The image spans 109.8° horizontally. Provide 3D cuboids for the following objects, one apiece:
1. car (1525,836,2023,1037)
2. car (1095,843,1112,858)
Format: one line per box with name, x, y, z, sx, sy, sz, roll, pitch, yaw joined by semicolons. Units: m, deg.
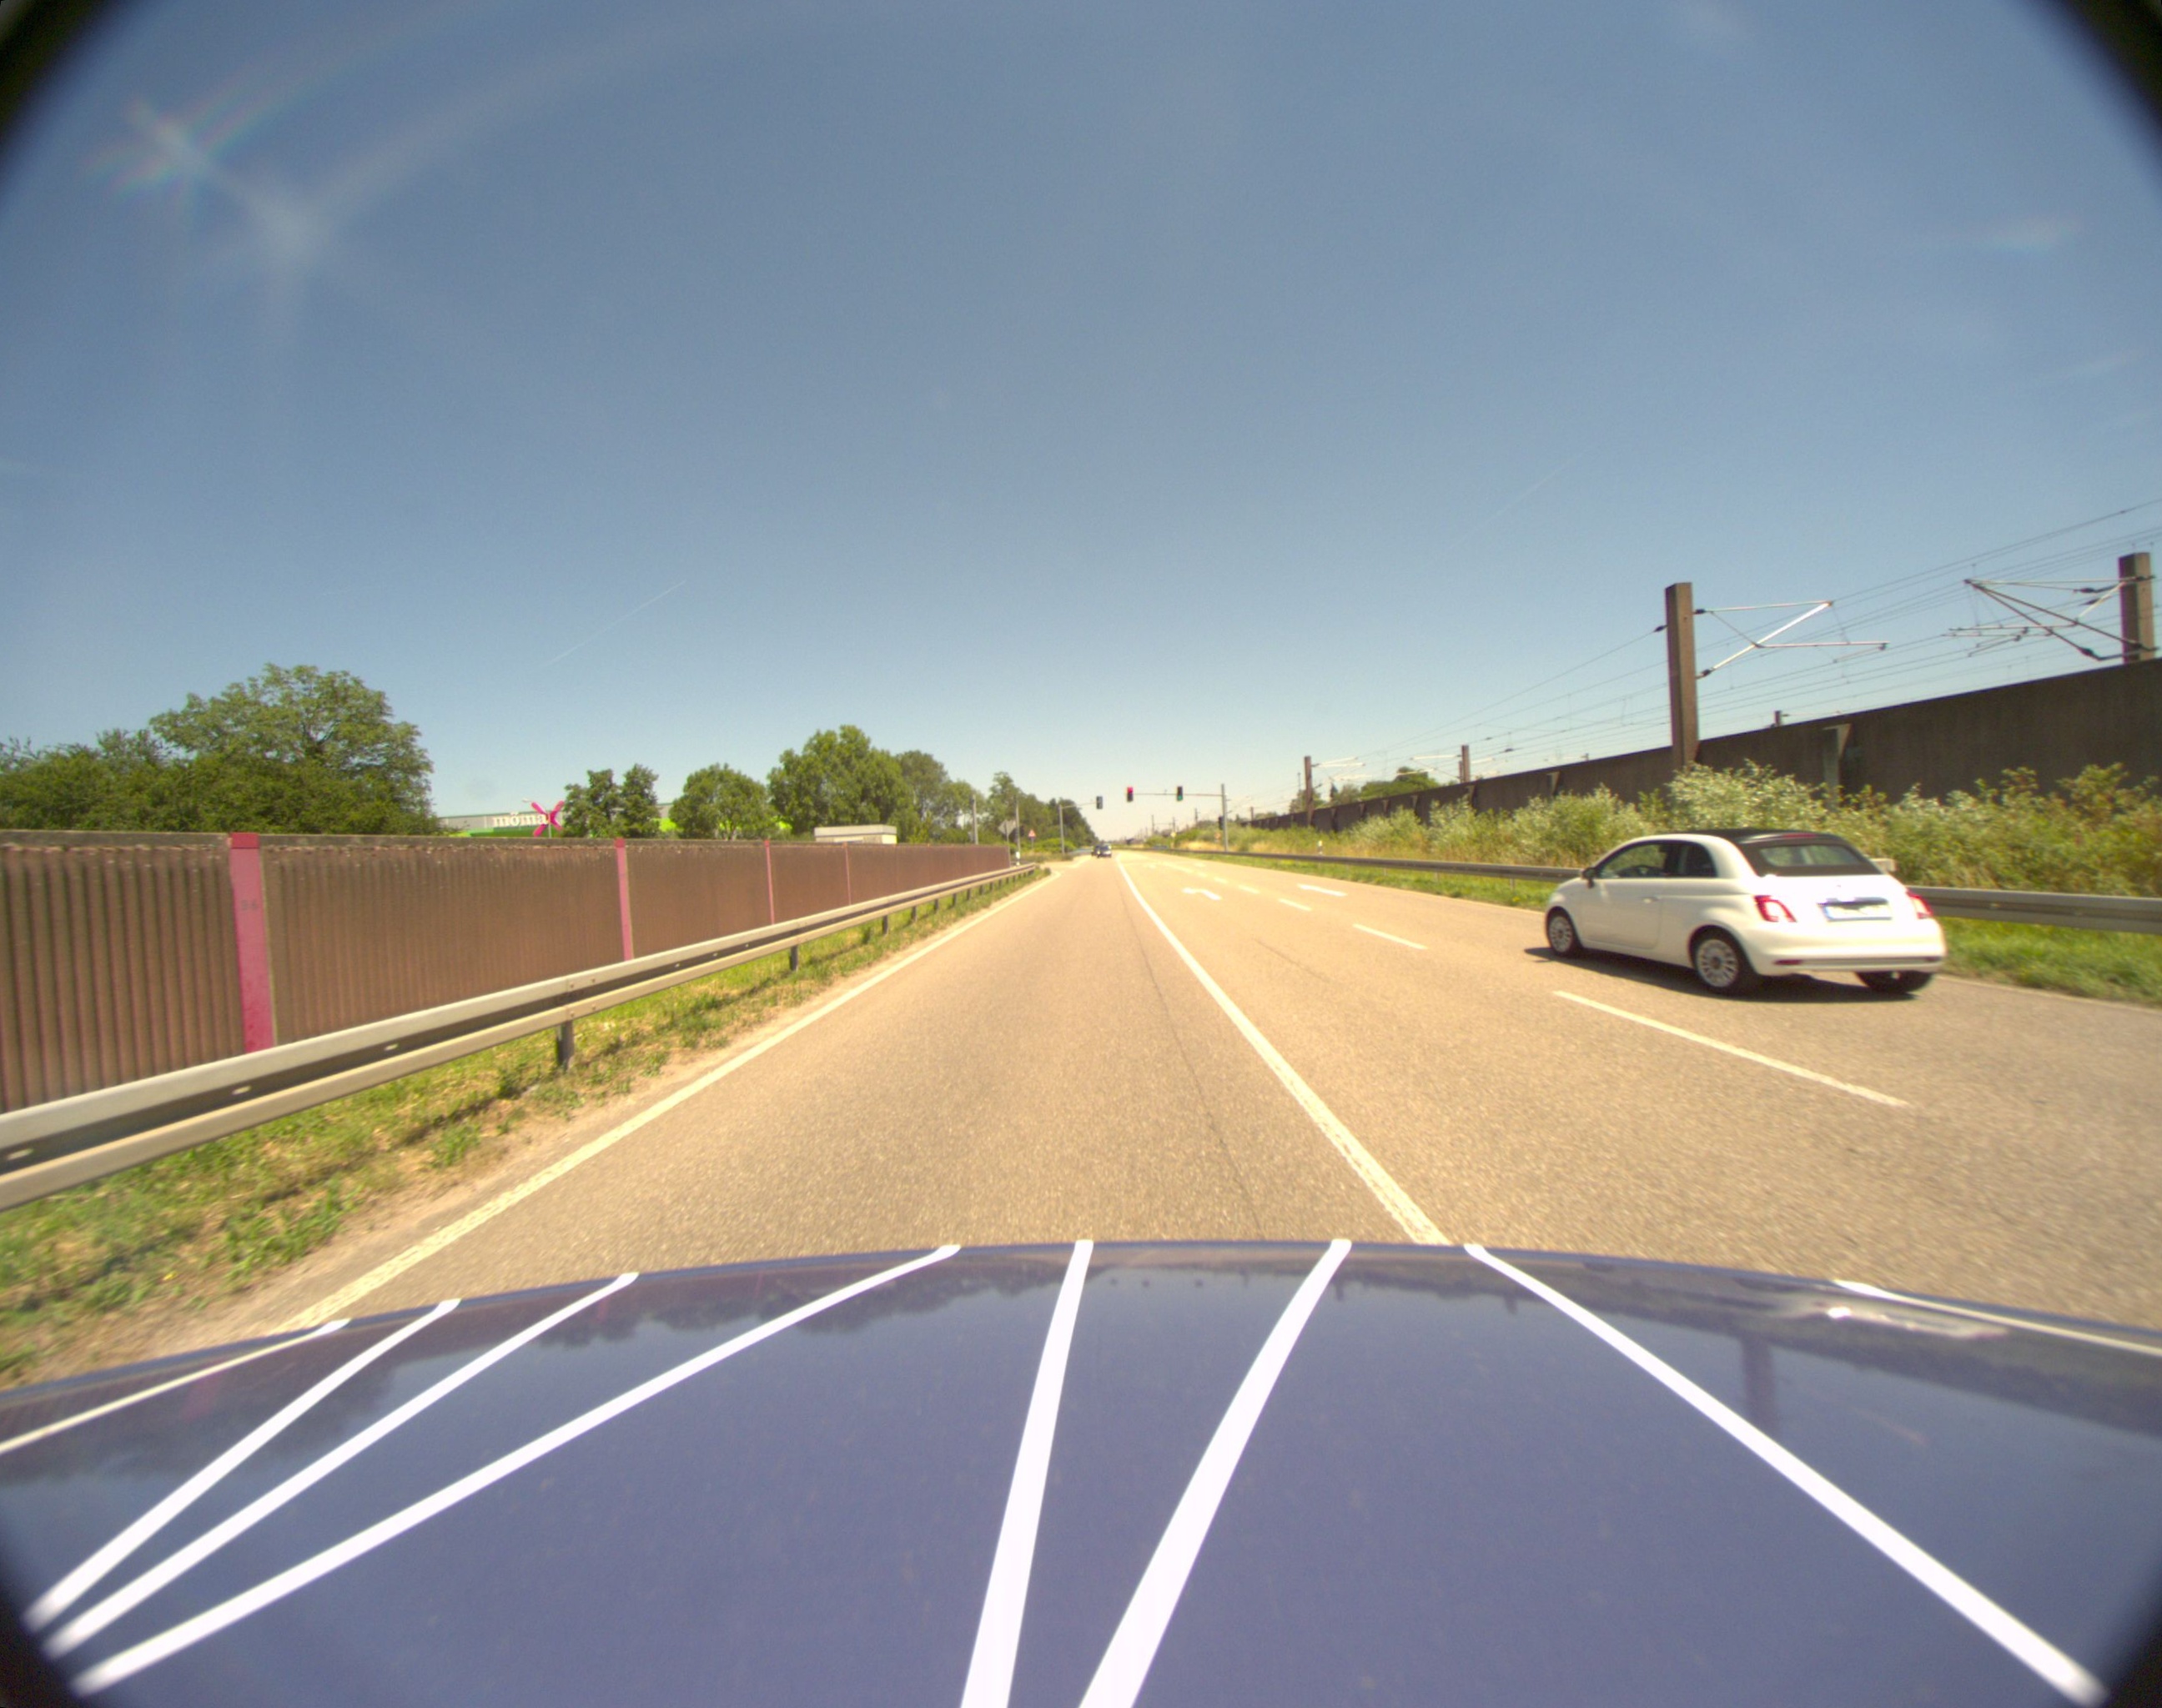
car;6.407;0.605;7.693;1.676;1.493;3.721;-2;1;1
car;2.794;-0.444;94.678;1.998;1.718;3.999;-3;1;1
